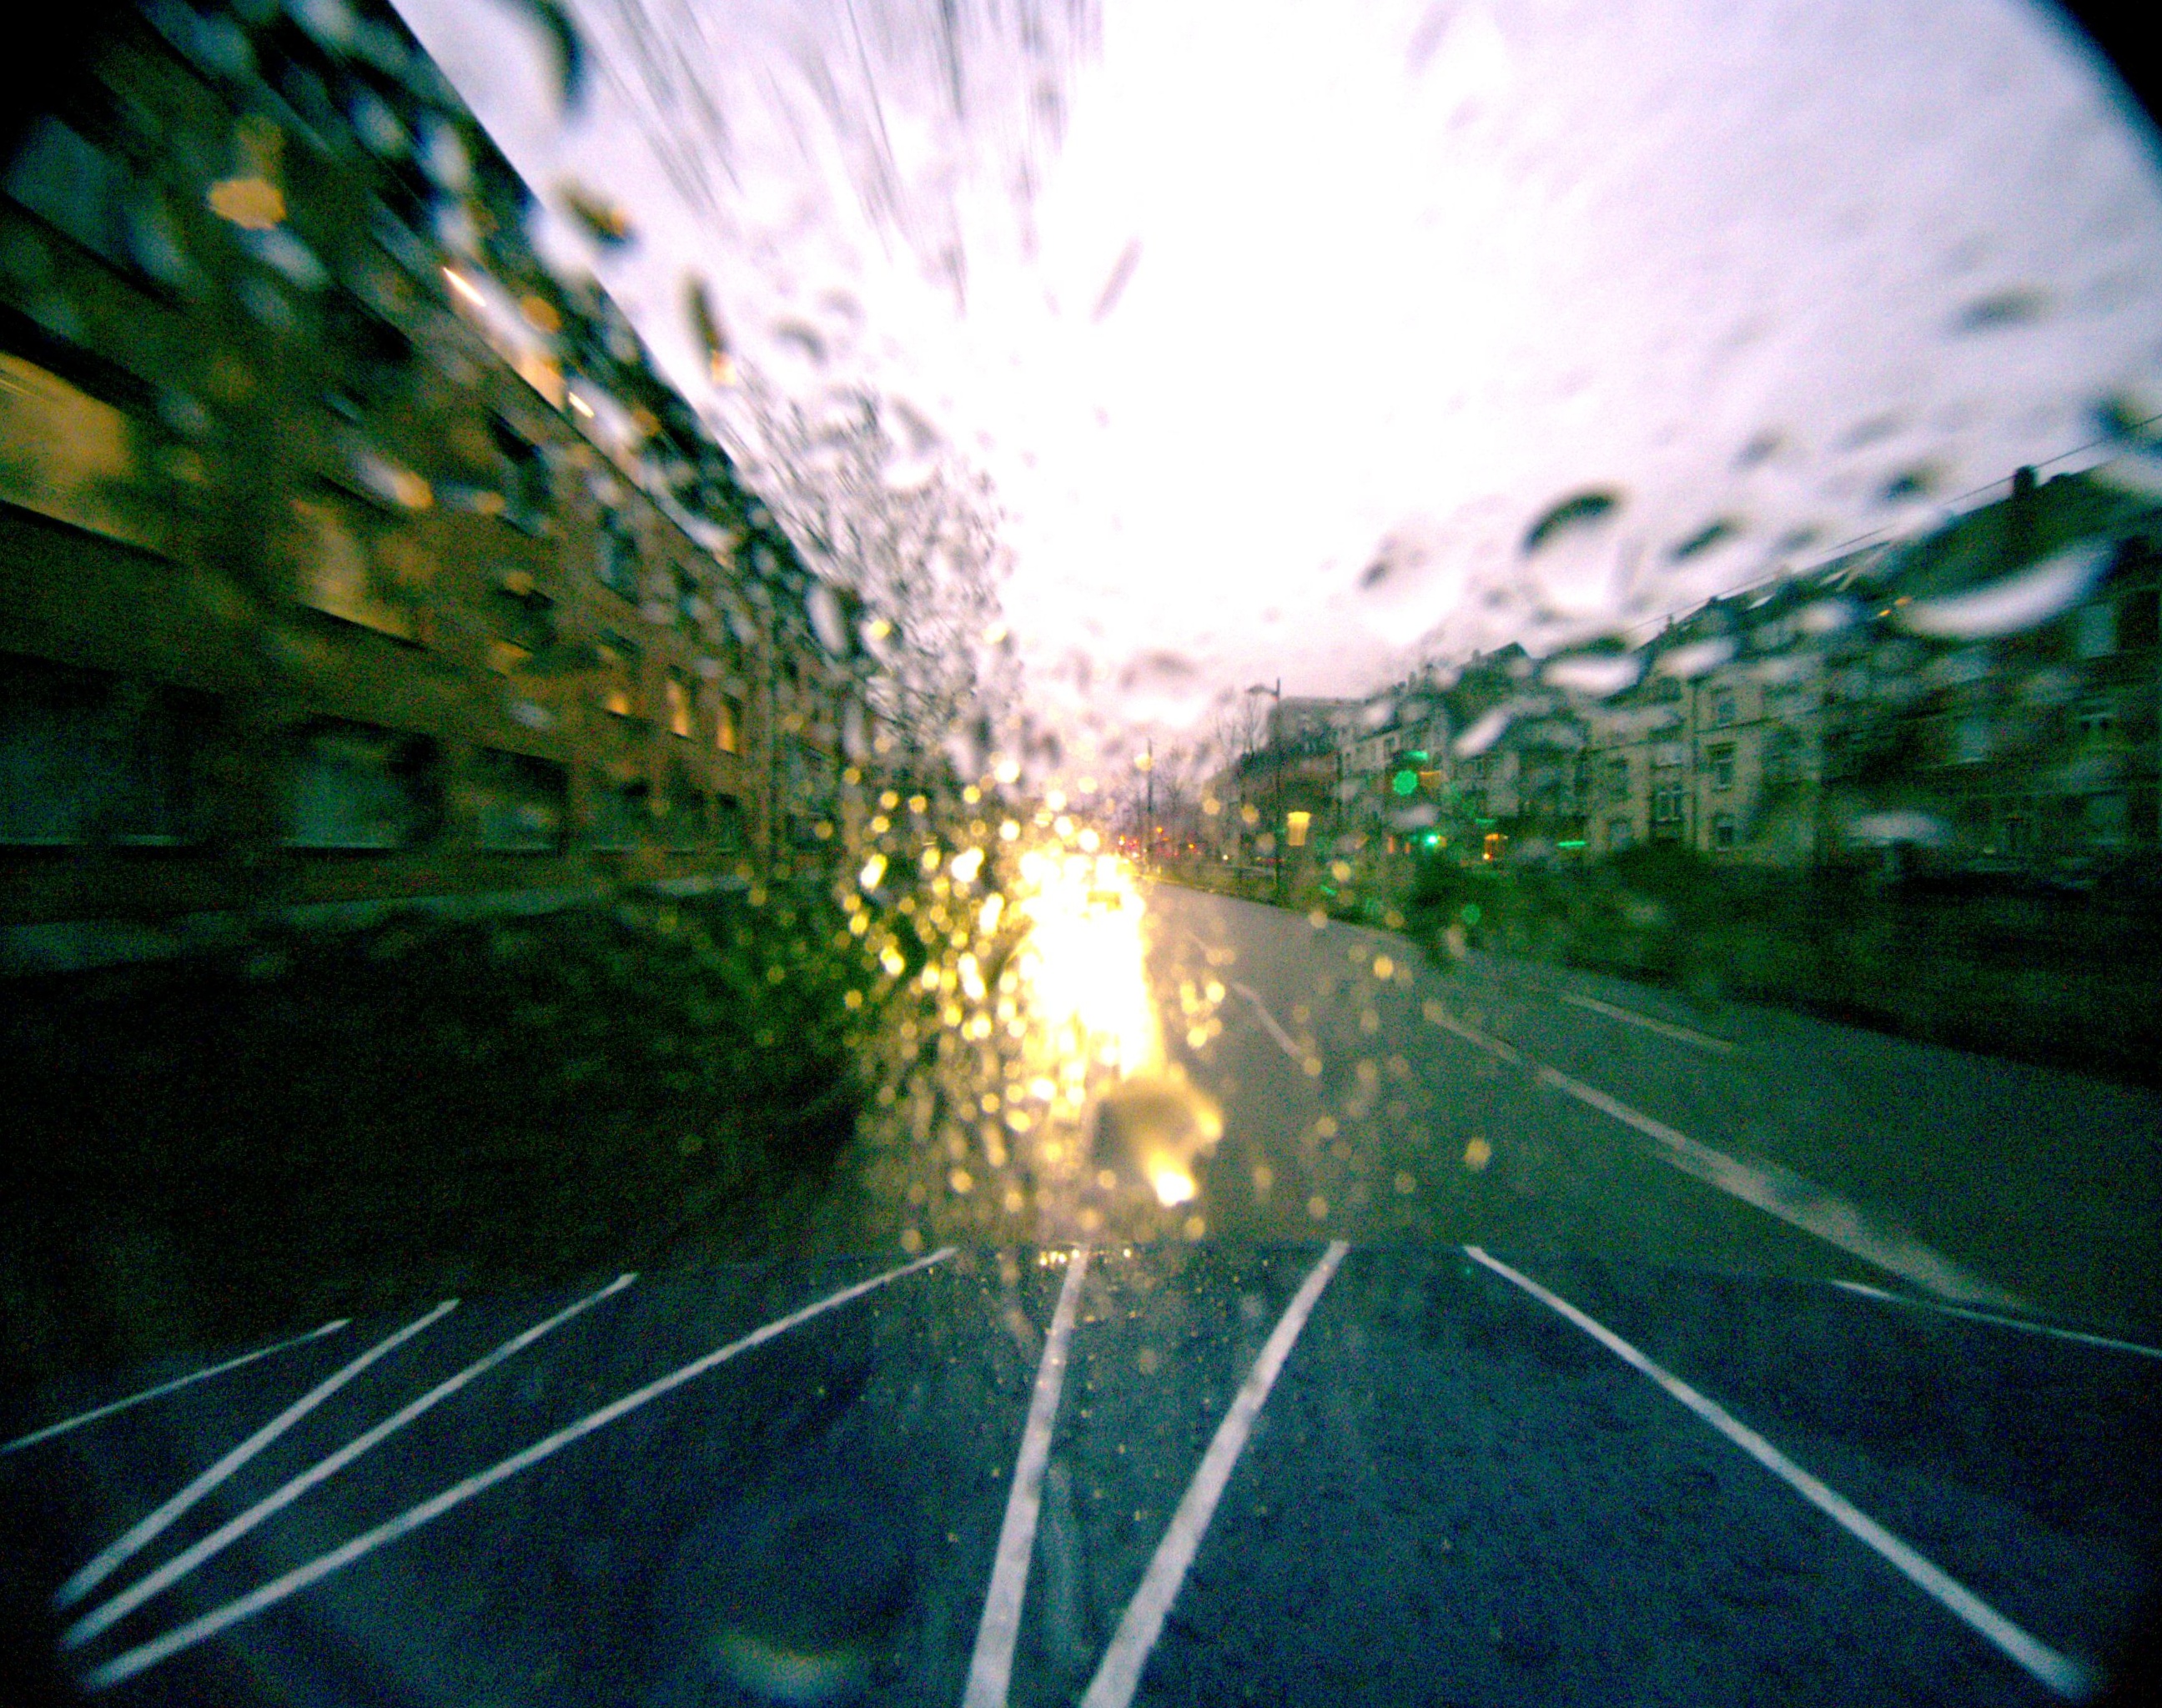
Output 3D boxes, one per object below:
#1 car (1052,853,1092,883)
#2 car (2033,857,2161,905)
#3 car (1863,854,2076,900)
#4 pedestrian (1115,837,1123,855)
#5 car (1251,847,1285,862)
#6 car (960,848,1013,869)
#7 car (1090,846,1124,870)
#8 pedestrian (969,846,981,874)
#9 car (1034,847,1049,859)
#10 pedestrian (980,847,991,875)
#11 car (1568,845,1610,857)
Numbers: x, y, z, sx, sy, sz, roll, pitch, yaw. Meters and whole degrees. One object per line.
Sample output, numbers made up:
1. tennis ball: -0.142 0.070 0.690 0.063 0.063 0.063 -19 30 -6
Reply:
1. car: -0.537 0.685 38.937 1.814 1.385 4.051 -2 1 -4
2. car: 28.113 0.696 19.614 3.988 1.162 2.004 0 1 34
3. car: 28.169 0.665 24.314 3.988 1.324 2.004 0 1 32
4. pedestrian: 4.233 -0.885 84.561 0.877 2.002 0.931 1 1 7
5. car: 18.547 0.055 75.519 1.870 1.444 4.697 0 1 -4
6. car: -7.365 0.366 59.359 3.998 1.547 1.741 1 1 -3
7. car: 1.696 0.262 50.600 1.814 1.488 4.051 -2 1 -4
8. pedestrian: -6.679 0.377 47.961 0.506 1.732 0.656 0 1 -36
9. car: -5.555 -0.151 105.720 1.999 1.694 3.998 0 0 -4
10. pedestrian: -6.345 0.463 50.412 0.506 1.814 0.656 0 1 -30
11. car: 44.896 -0.249 67.216 2.898 1.069 1.330 0 1 -4
